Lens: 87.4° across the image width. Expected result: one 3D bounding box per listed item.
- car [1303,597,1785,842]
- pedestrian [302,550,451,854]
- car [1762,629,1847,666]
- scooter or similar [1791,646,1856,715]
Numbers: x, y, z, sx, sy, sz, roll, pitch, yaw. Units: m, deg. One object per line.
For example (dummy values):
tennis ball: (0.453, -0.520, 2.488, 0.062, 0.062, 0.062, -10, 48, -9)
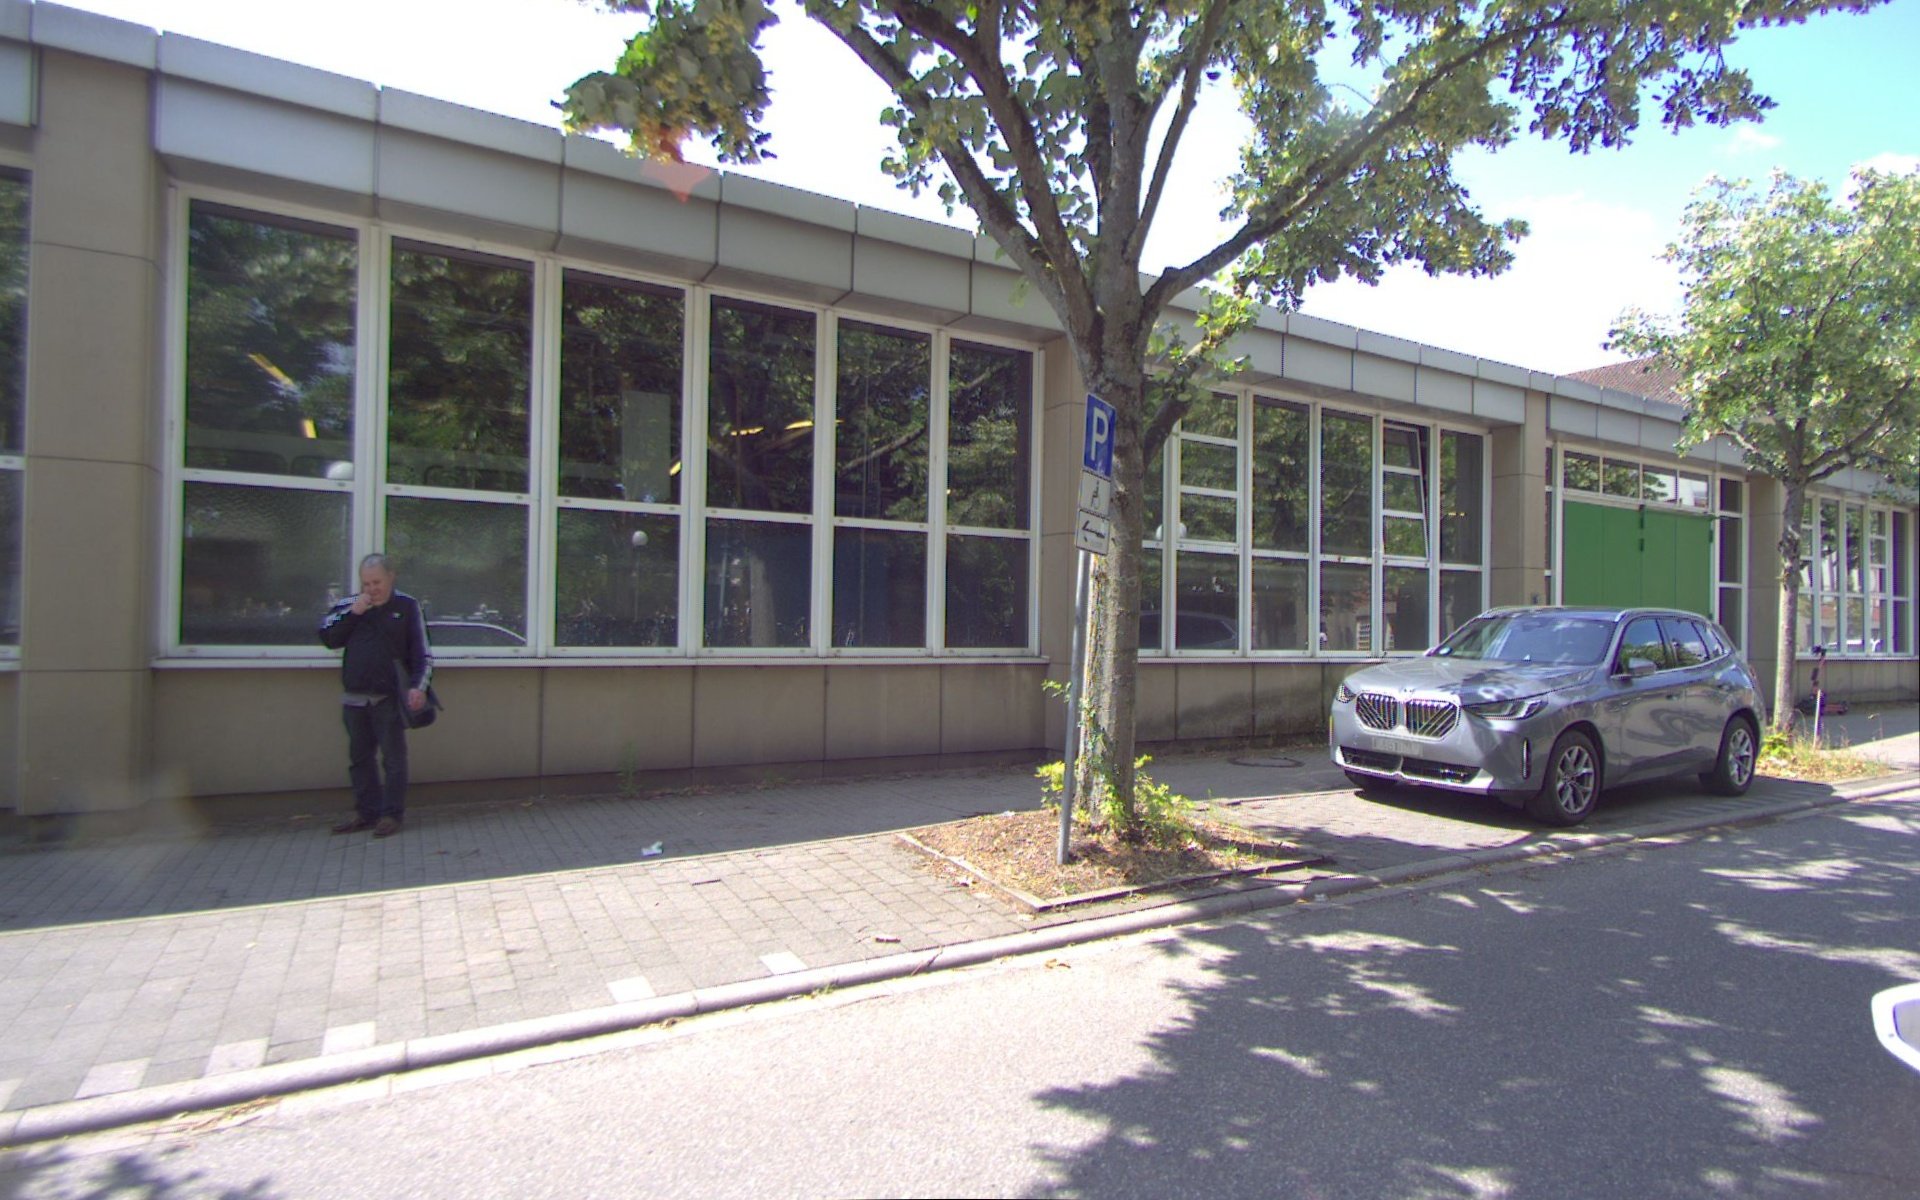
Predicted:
car: (5.261, 0.881, 8.867, 4.468, 1.654, 1.811, 2, 0, -33)
pedestrian: (-3.733, 0.608, 6.459, 0.781, 1.811, 0.665, 0, 1, -30)
car: (43.241, 2.424, 51.410, 4.389, 1.791, 1.919, 1, -4, -30)
scooter or similar: (15.585, 1.436, 18.133, 1.201, 1.185, 0.503, 1, 0, -30)
